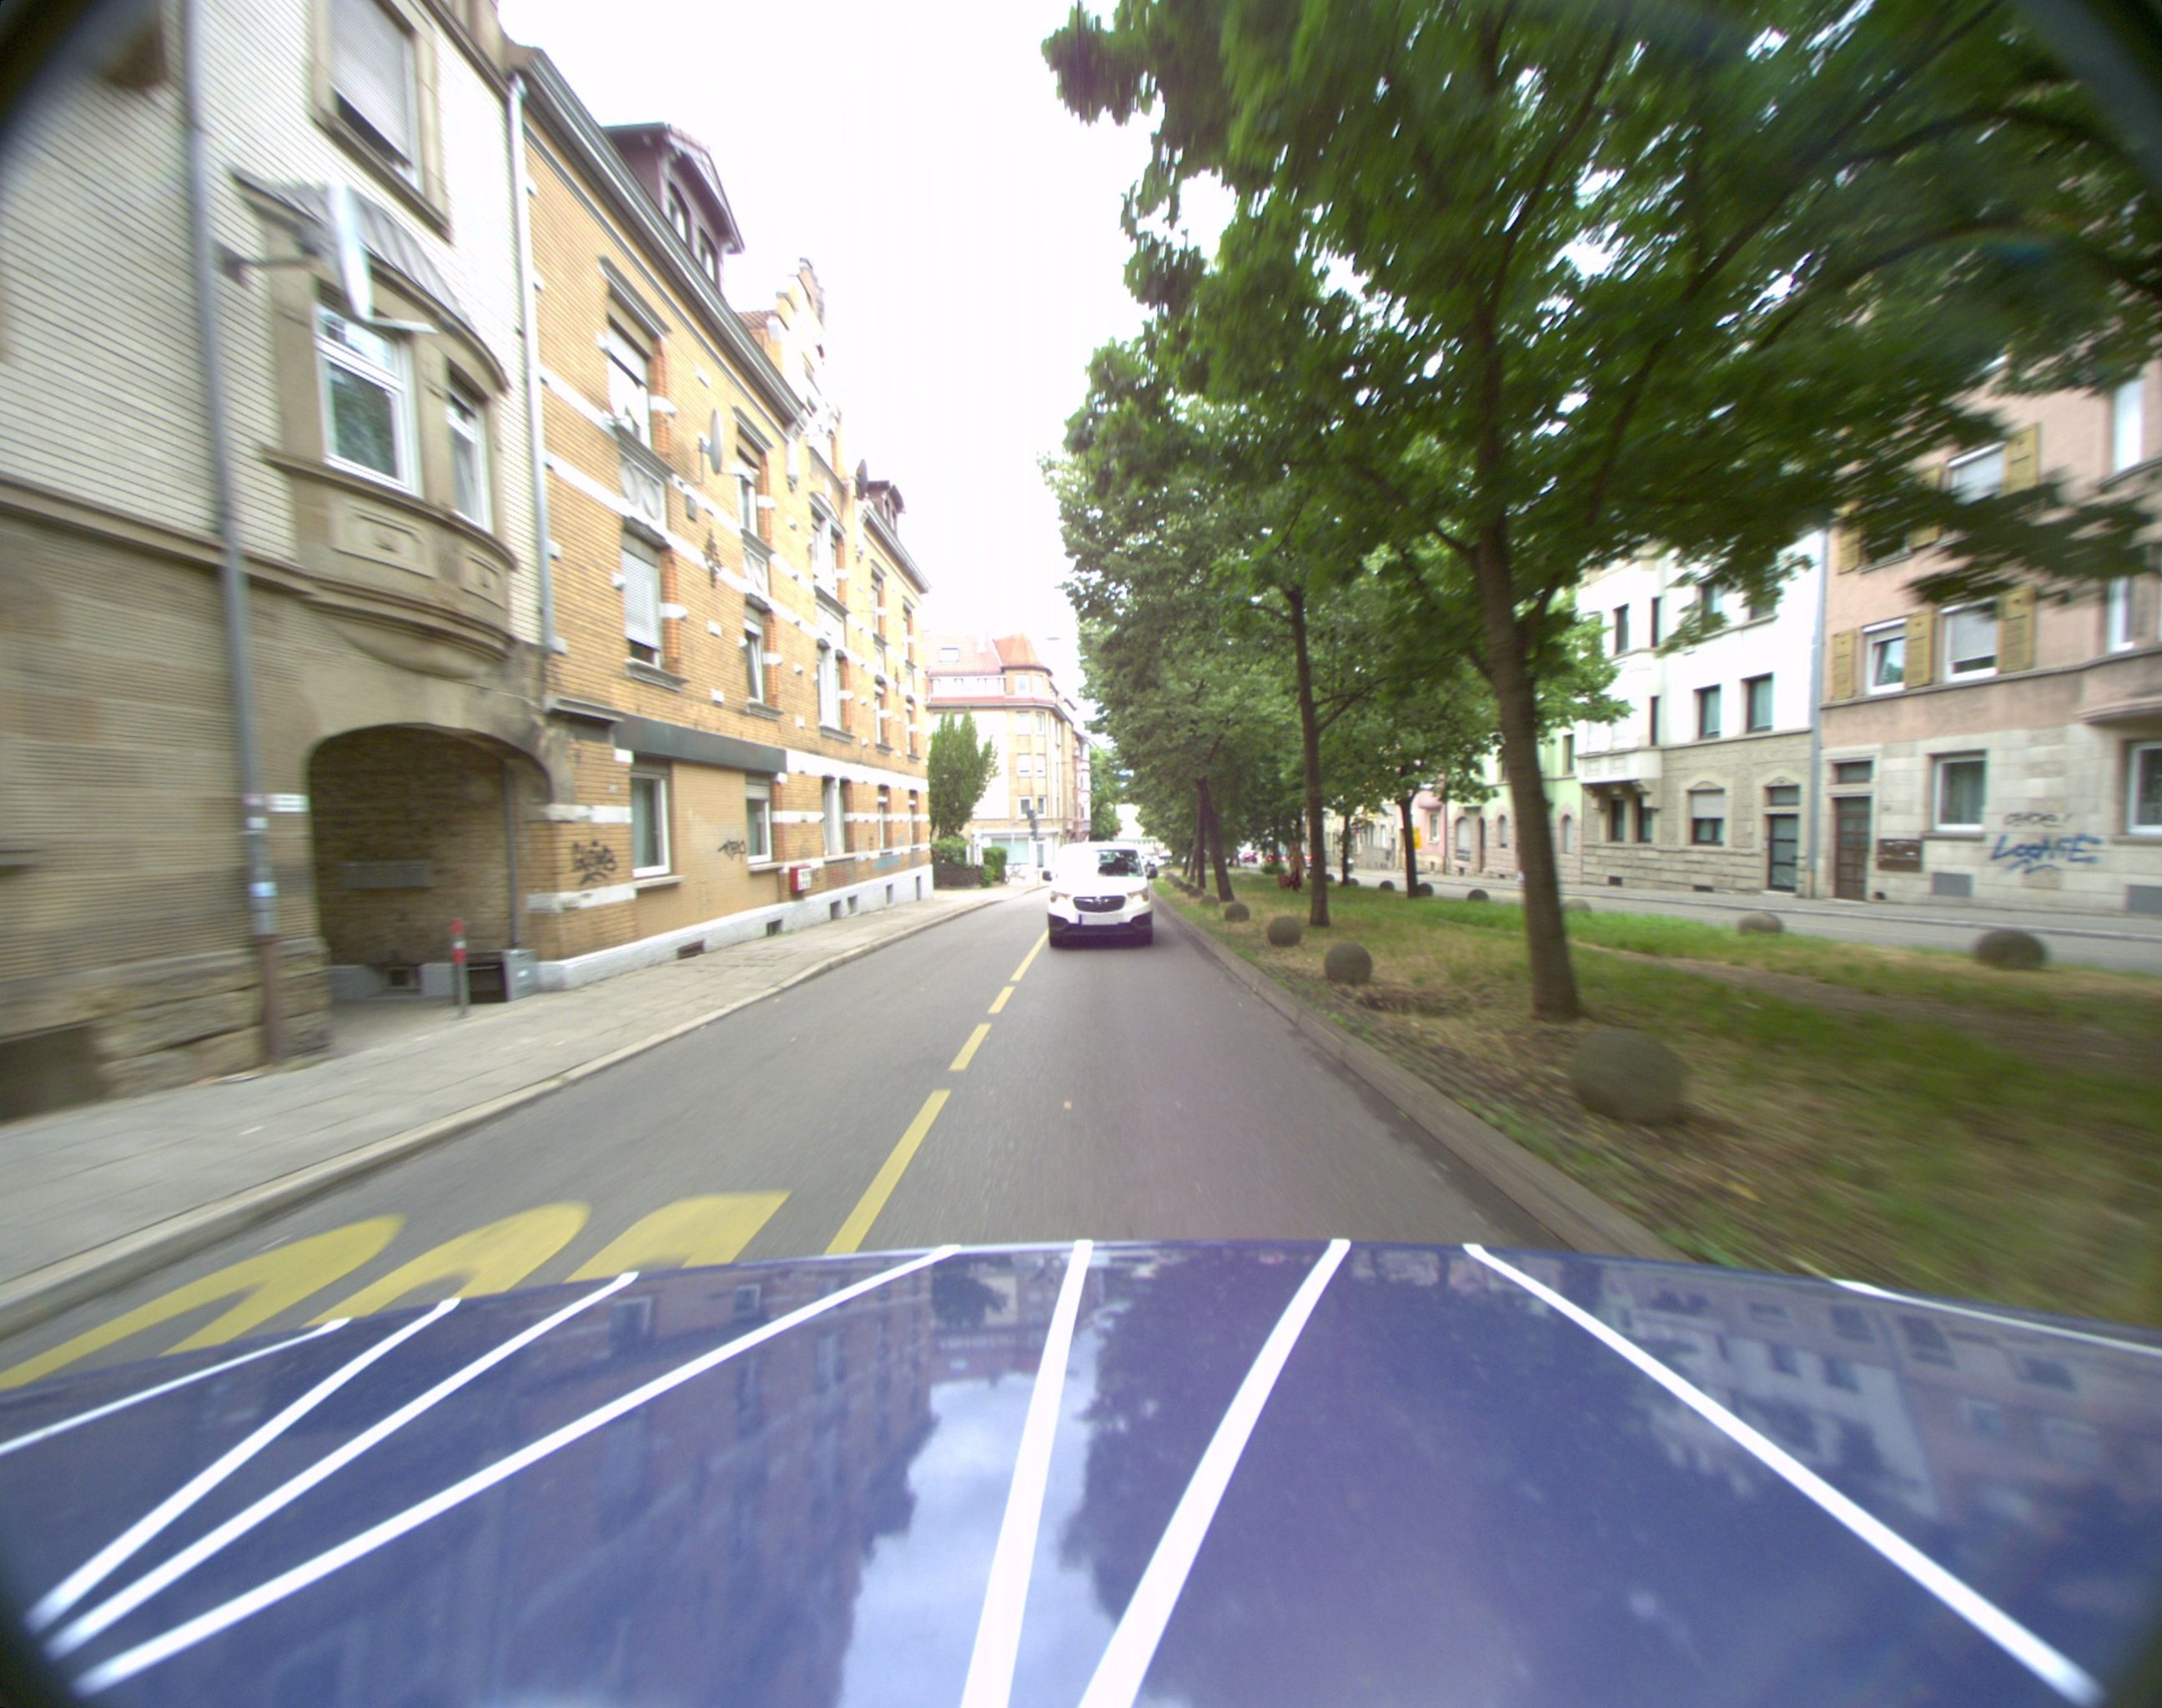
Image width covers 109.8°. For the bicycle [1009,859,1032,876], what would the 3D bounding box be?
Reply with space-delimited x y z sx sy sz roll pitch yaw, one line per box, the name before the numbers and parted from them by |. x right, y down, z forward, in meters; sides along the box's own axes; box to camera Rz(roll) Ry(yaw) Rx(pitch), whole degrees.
bicycle | -4.571 1.016 57.589 0.642 1.134 2.068 -6 7 -38

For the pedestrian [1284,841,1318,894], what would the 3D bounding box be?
pedestrian | 7.327 0.435 25.377 0.835 1.703 1.123 2 3 6

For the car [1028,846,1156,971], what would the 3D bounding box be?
car | 0.355 0.784 13.484 1.857 1.799 4.730 -1 1 5

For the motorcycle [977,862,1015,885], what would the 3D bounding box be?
motorcycle | -5.058 1.154 45.384 2.060 1.260 1.010 -3 0 2

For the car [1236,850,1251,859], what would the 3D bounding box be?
car | 24.656 0.101 115.497 1.673 1.398 4.295 -1 0 3

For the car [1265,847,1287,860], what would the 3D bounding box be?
car | 21.459 -0.059 83.871 1.712 1.374 4.671 0 -1 7

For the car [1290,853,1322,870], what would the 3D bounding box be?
car | 18.409 0.600 62.353 1.762 1.374 4.671 0 -1 7

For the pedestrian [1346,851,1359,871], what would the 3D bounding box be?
pedestrian | 19.961 0.499 55.910 0.700 1.452 0.704 -2 0 7

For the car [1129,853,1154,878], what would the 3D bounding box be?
car | 5.337 0.970 67.420 1.962 1.938 3.956 -2 2 3

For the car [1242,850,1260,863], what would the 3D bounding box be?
car | 24.136 0.320 107.763 1.819 1.627 4.680 0 1 5
